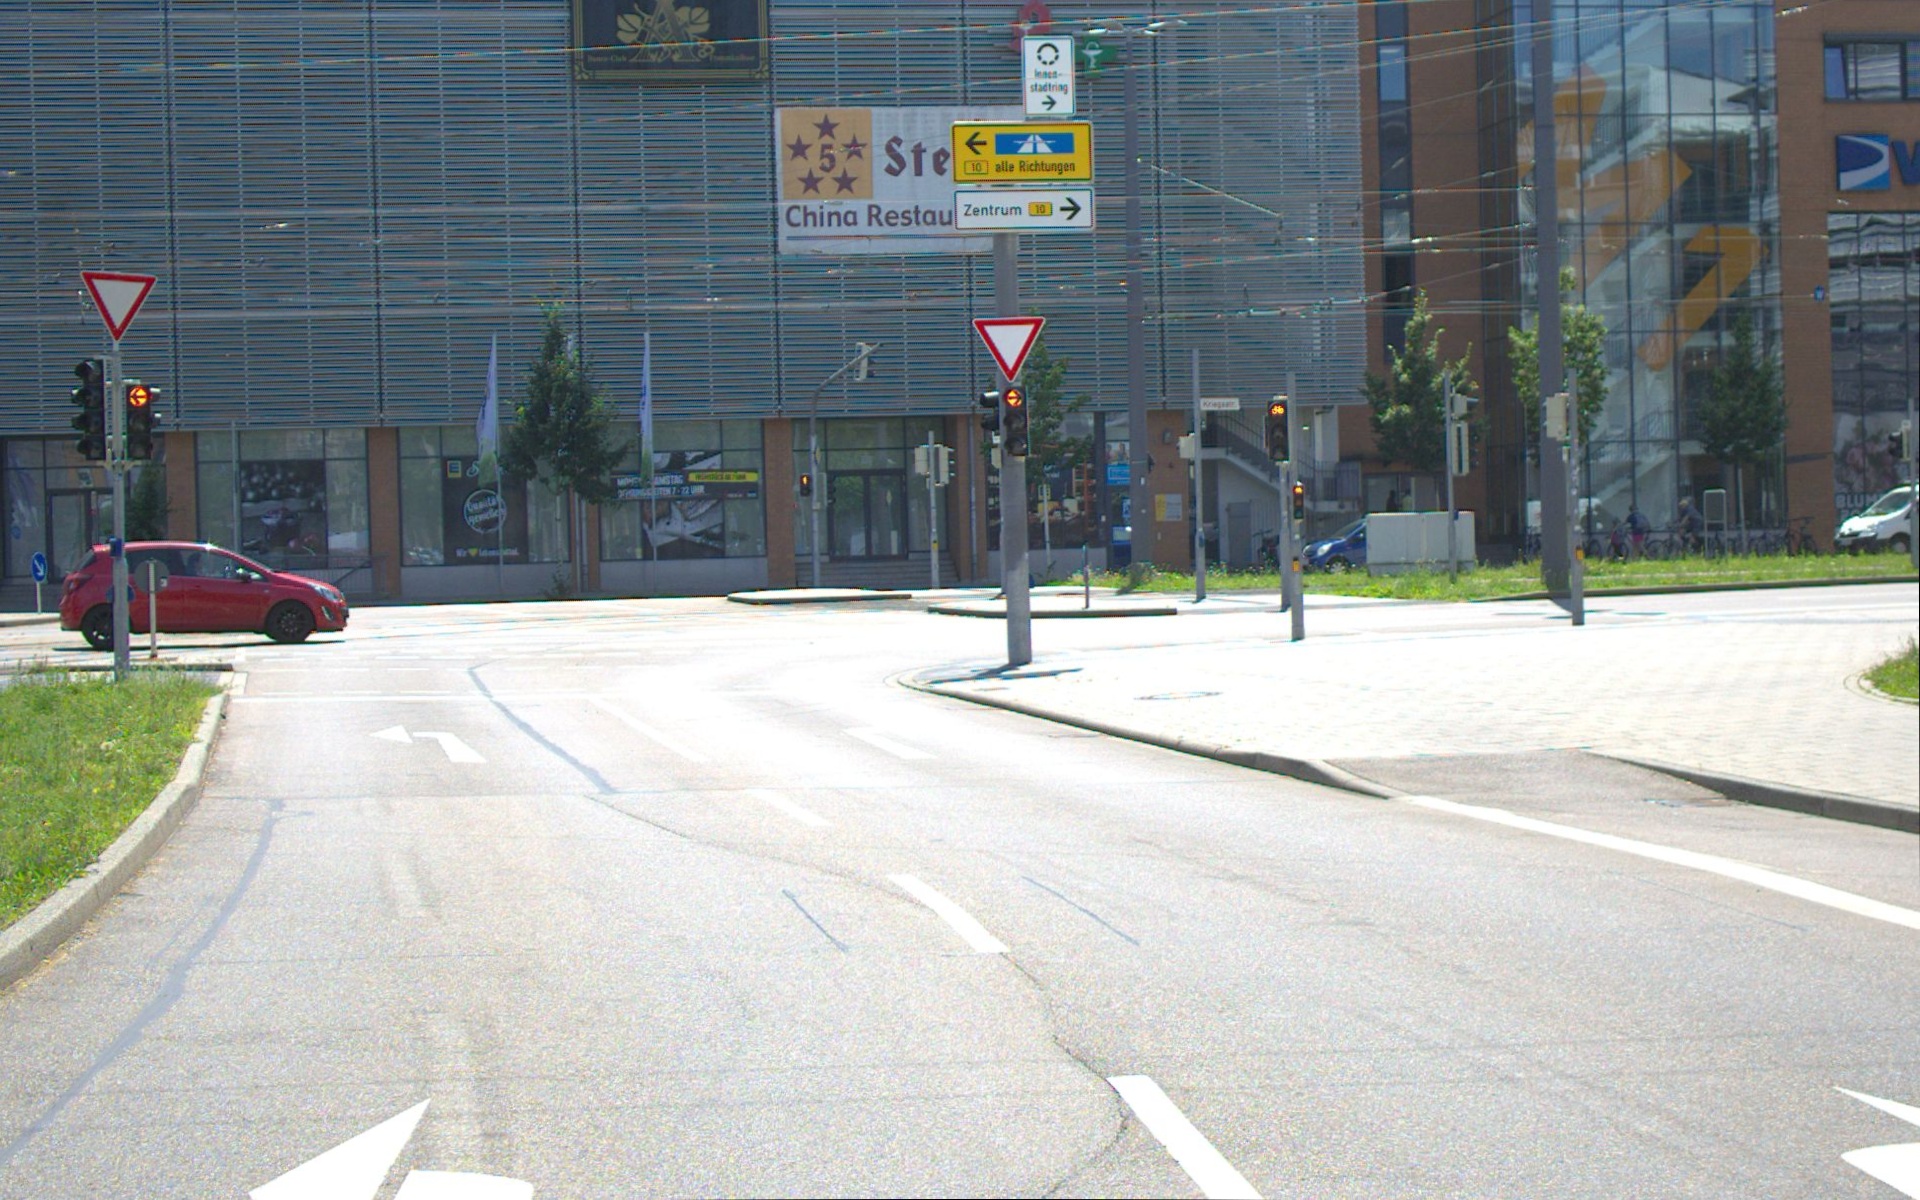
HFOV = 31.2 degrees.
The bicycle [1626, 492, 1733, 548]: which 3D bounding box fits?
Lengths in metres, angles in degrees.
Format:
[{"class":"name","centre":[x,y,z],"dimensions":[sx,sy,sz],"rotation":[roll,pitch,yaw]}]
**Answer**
[{"class":"bicycle","centre":[20.125,-2.254,96.219],"dimensions":[2.849,1.552,0.705],"rotation":[0,2,-7]}]

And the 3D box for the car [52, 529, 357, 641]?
[{"class":"car","centre":[-10.671,-0.236,48.621],"dimensions":[4.124,1.503,1.843],"rotation":[-1,2,-13]}]

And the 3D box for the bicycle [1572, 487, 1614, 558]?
[{"class":"bicycle","centre":[18.029,-2.223,97.980],"dimensions":[0.484,2.006,2.347],"rotation":[0,2,-8]}]

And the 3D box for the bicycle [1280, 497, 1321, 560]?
[{"class":"bicycle","centre":[9.390,-1.986,94.809],"dimensions":[0.598,1.725,2.261],"rotation":[0,2,-9]}]

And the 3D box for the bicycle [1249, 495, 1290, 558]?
[{"class":"bicycle","centre":[8.526,-2.037,94.714],"dimensions":[0.598,1.725,2.261],"rotation":[0,2,-9]}]

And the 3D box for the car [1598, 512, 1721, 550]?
[{"class":"car","centre":[19.159,-1.899,94.216],"dimensions":[2.992,1.032,1.350],"rotation":[-1,2,-12]}]

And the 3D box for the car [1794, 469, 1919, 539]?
[{"class":"car","centre":[23.348,-2.357,84.002],"dimensions":[5.461,1.662,2.001],"rotation":[-1,2,-15]}]

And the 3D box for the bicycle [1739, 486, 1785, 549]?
[{"class":"bicycle","centre":[22.912,-2.366,98.254],"dimensions":[0.484,1.790,2.259],"rotation":[0,2,-8]}]

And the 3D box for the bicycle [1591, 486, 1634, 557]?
[{"class":"bicycle","centre":[18.573,-2.253,97.962],"dimensions":[0.484,2.006,2.347],"rotation":[0,2,-8]}]

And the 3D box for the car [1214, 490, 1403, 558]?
[{"class":"car","centre":[8.043,-1.761,79.476],"dimensions":[3.986,1.533,1.882],"rotation":[-1,2,-12]}]

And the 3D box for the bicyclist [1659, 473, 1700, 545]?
[{"class":"bicyclist","centre":[20.153,-2.558,96.270],"dimensions":[0.912,2.006,0.748],"rotation":[0,2,-8]}]
